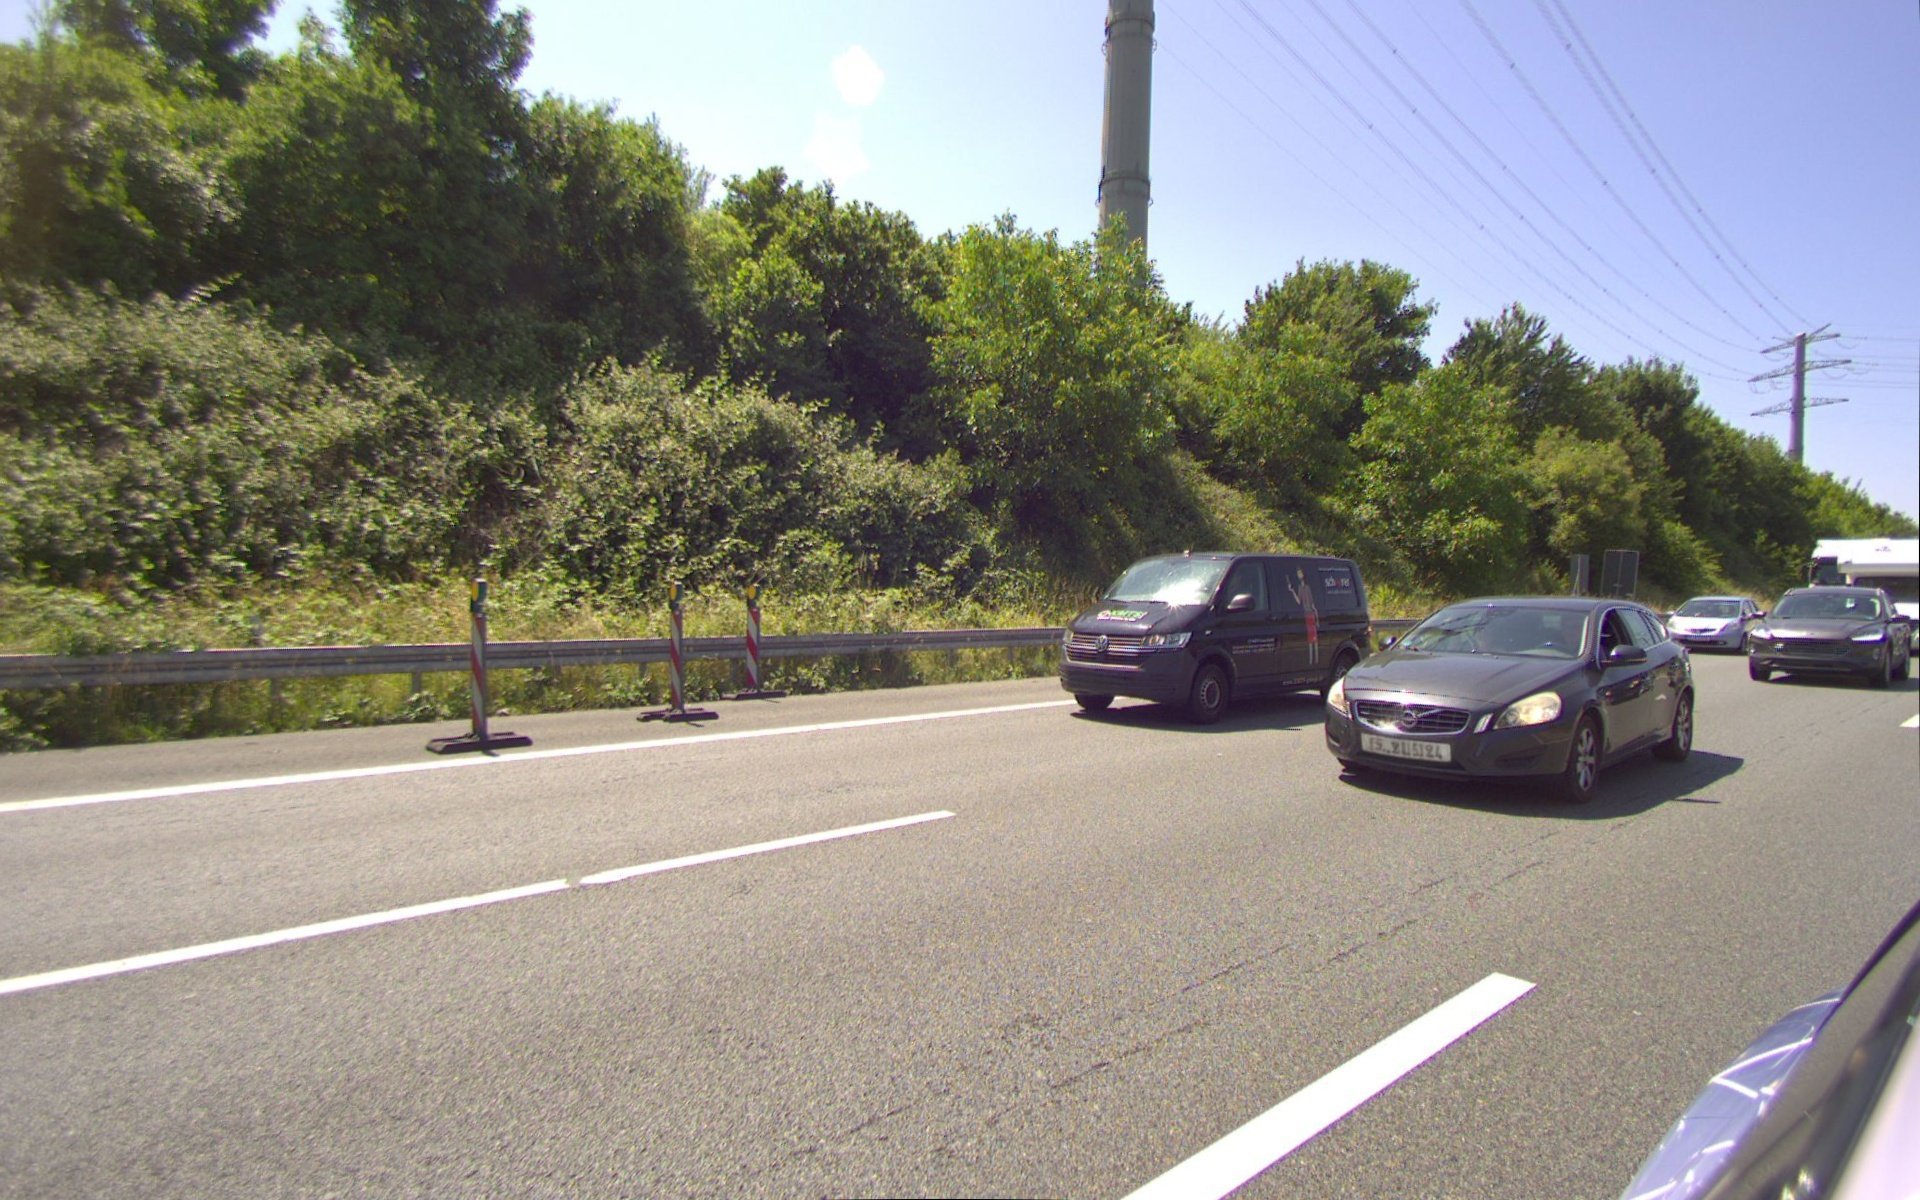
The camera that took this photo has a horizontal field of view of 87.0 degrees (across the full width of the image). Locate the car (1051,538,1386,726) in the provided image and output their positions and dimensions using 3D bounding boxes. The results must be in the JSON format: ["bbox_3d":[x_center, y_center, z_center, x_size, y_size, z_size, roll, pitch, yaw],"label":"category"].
[{"bbox_3d":[3.362,0.305,12.591,4.617,1.928,1.786,0,0,-42],"label":"car"}]

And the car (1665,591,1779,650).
[{"bbox_3d":[20.257,0.495,26.866,3.668,1.455,1.798,-1,1,-43],"label":"car"}]

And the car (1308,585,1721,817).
[{"bbox_3d":[4.766,0.611,8.425,4.159,1.455,1.798,-1,1,-43],"label":"car"}]

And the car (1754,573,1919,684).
[{"bbox_3d":[15.701,0.419,17.953,4.309,1.724,1.889,-1,1,-43],"label":"car"}]

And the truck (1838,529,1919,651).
[{"bbox_3d":[27.531,-0.289,28.707,9.722,3.053,2.513,-1,0,-40],"label":"truck"}]

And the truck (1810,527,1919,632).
[{"bbox_3d":[41.087,-0.863,45.480,11.458,4.204,2.653,-1,0,-41],"label":"truck"}]
